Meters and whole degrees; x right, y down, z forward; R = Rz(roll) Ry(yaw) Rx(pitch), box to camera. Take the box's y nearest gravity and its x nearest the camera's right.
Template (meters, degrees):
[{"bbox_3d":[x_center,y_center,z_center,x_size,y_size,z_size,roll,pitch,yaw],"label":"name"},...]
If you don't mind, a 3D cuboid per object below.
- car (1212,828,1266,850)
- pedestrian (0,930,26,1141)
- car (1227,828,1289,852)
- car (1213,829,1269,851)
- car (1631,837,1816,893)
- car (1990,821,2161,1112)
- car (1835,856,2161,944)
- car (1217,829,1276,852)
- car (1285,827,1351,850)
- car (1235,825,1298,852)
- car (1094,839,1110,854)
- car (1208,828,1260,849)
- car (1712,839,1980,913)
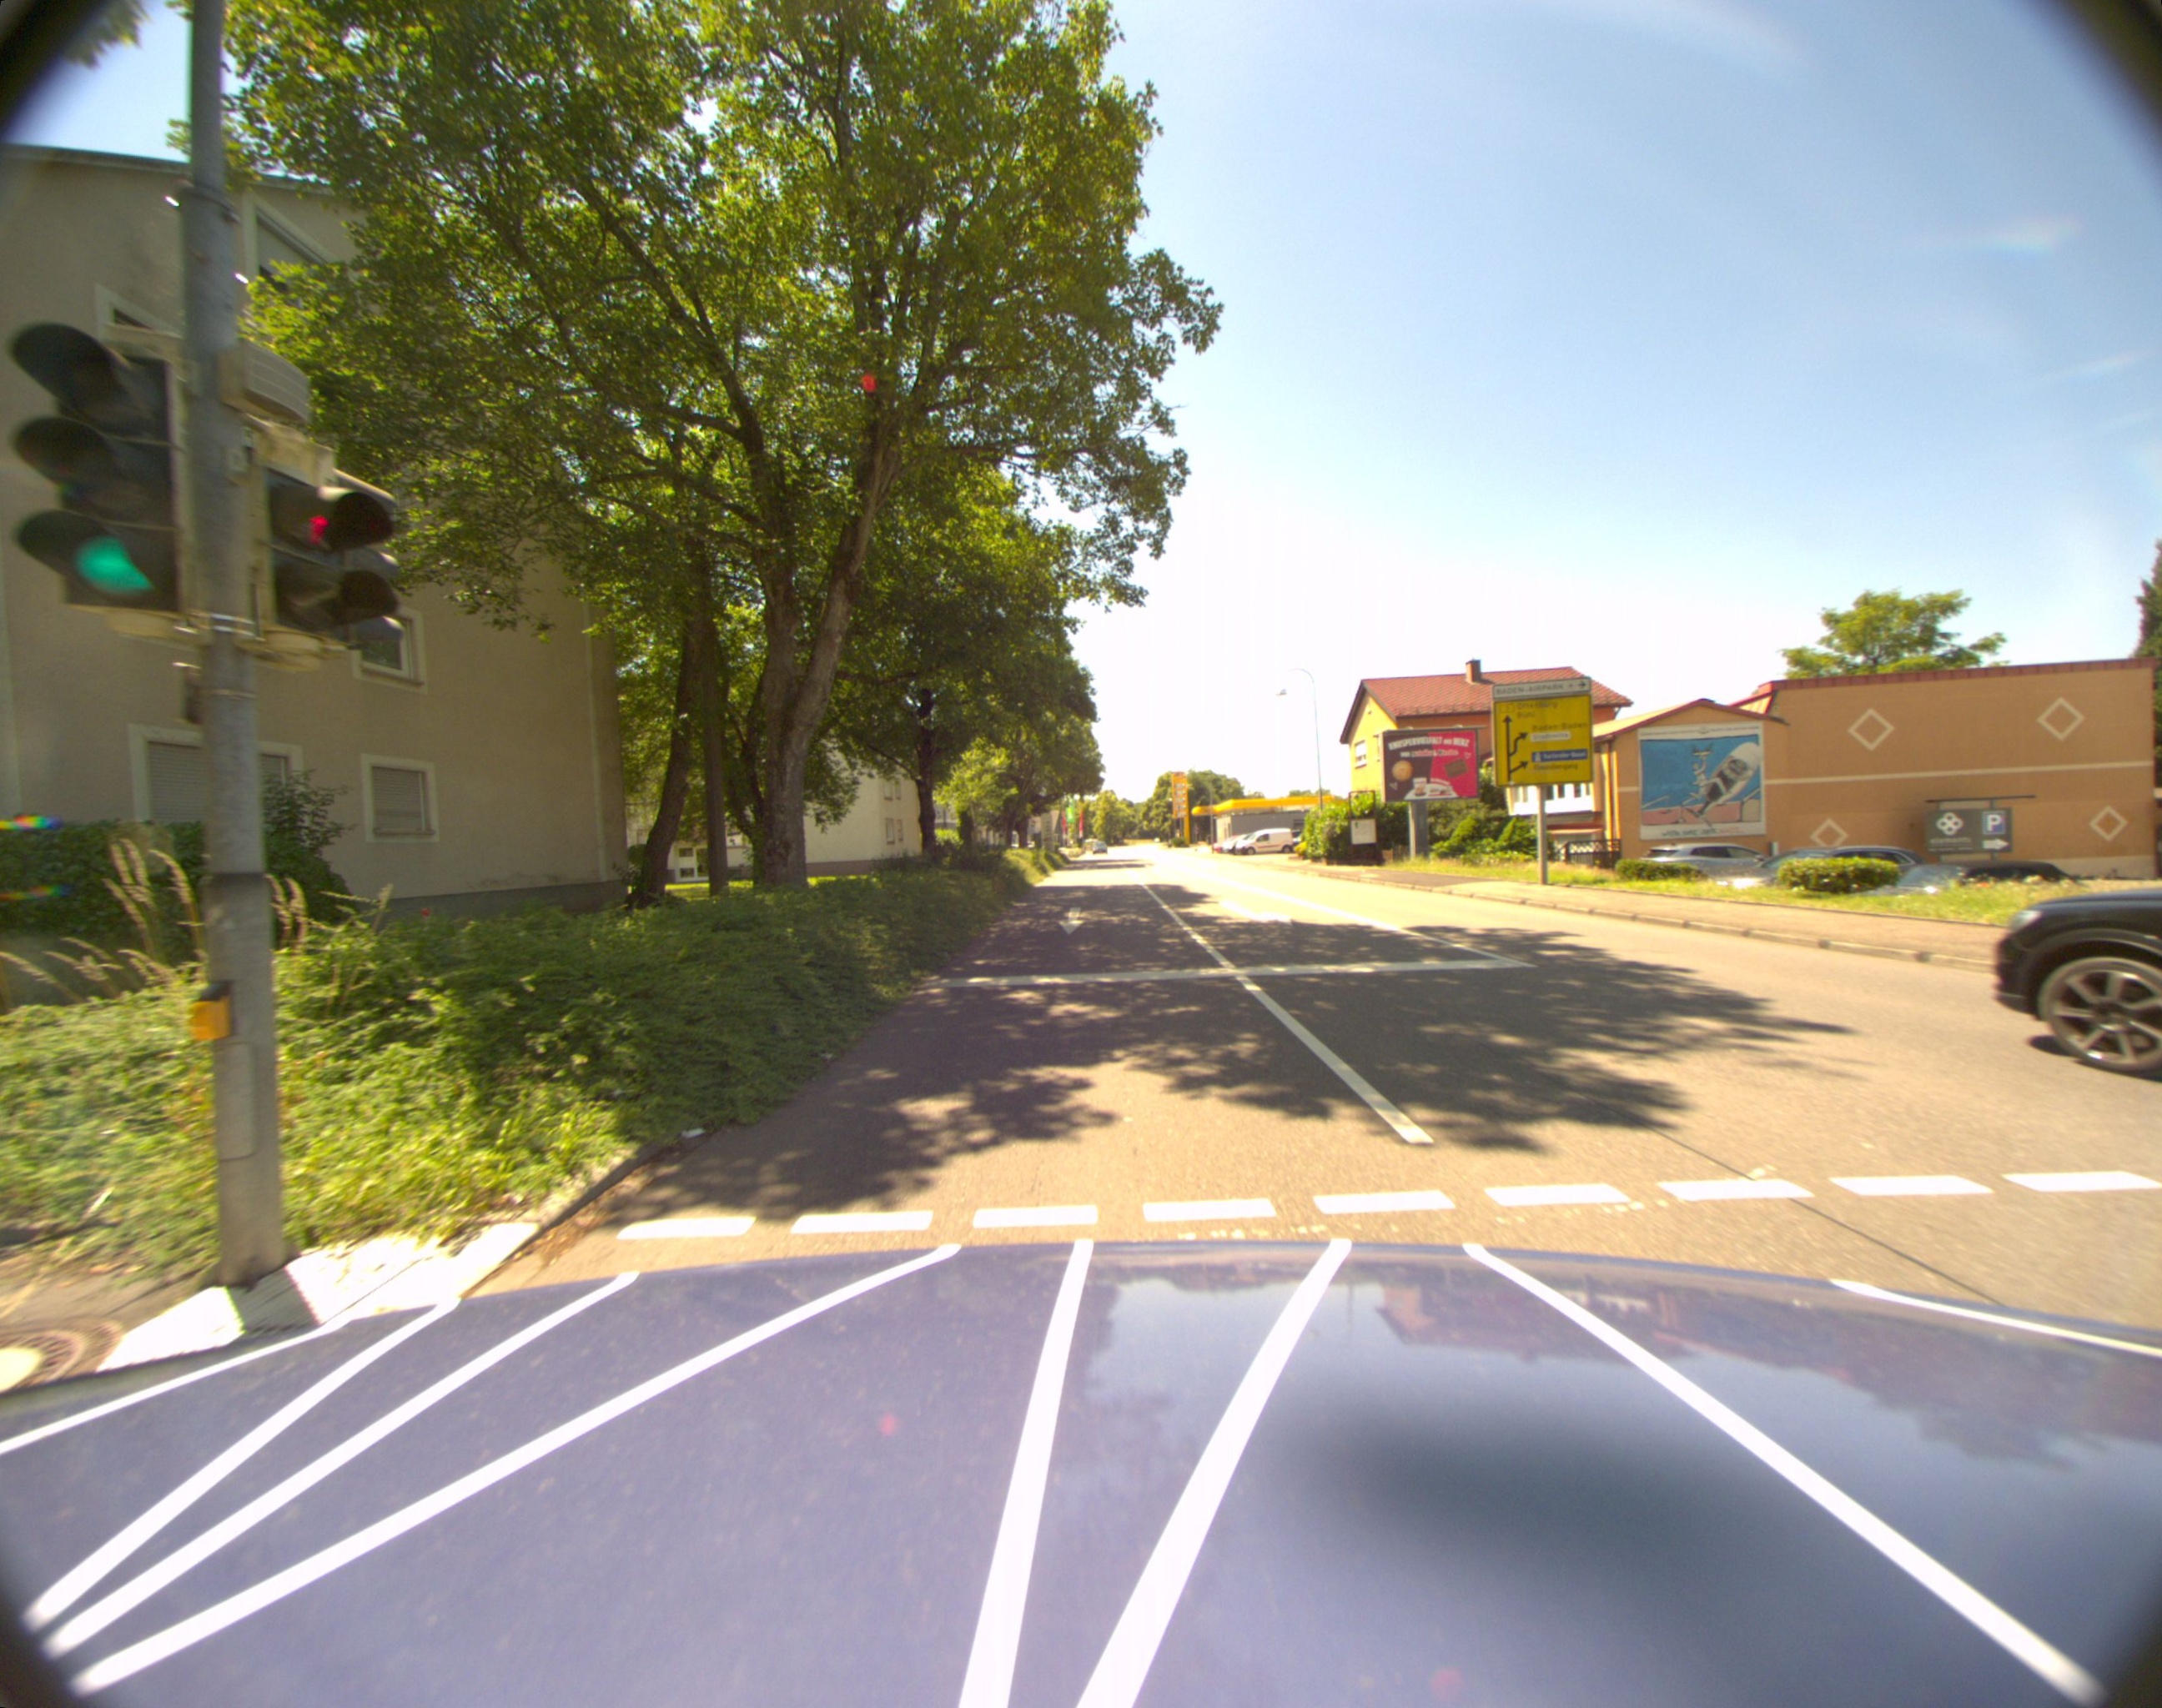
[{"bbox_3d":[14.078,-1.354,67.810,4.401,1.750,1.874,-2,2,-4],"label":"car"},{"bbox_3d":[-6.987,0.876,4.284,0.674,1.863,0.901,-4,3,-18],"label":"pedestrian"},{"bbox_3d":[13.671,-1.096,58.774,4.246,1.750,1.874,-2,2,-4],"label":"car"},{"bbox_3d":[13.751,-1.222,65.399,4.401,1.750,1.874,-2,2,-4],"label":"car"},{"bbox_3d":[20.441,0.332,24.355,4.224,1.600,1.772,-1,2,9],"label":"car"},{"bbox_3d":[6.754,0.617,2.674,1.931,1.546,4.301,-2,1,-1],"label":"car"},{"bbox_3d":[17.984,0.879,15.041,4.095,1.524,1.771,-1,2,8],"label":"car"},{"bbox_3d":[13.772,-1.161,63.251,4.401,1.750,1.874,-2,2,-4],"label":"car"},{"bbox_3d":[18.233,-1.200,58.530,4.401,1.555,1.874,-2,2,-4],"label":"car"},{"bbox_3d":[13.794,-1.181,56.605,4.191,1.858,1.874,-2,2,-4],"label":"car"},{"bbox_3d":[2.398,-0.857,85.918,1.771,1.521,4.129,-2,1,2],"label":"car"},{"bbox_3d":[14.125,-1.429,70.212,4.401,1.750,1.874,-2,2,-4],"label":"car"},{"bbox_3d":[18.698,0.526,18.781,4.524,1.633,1.771,-1,2,8],"label":"car"}]
